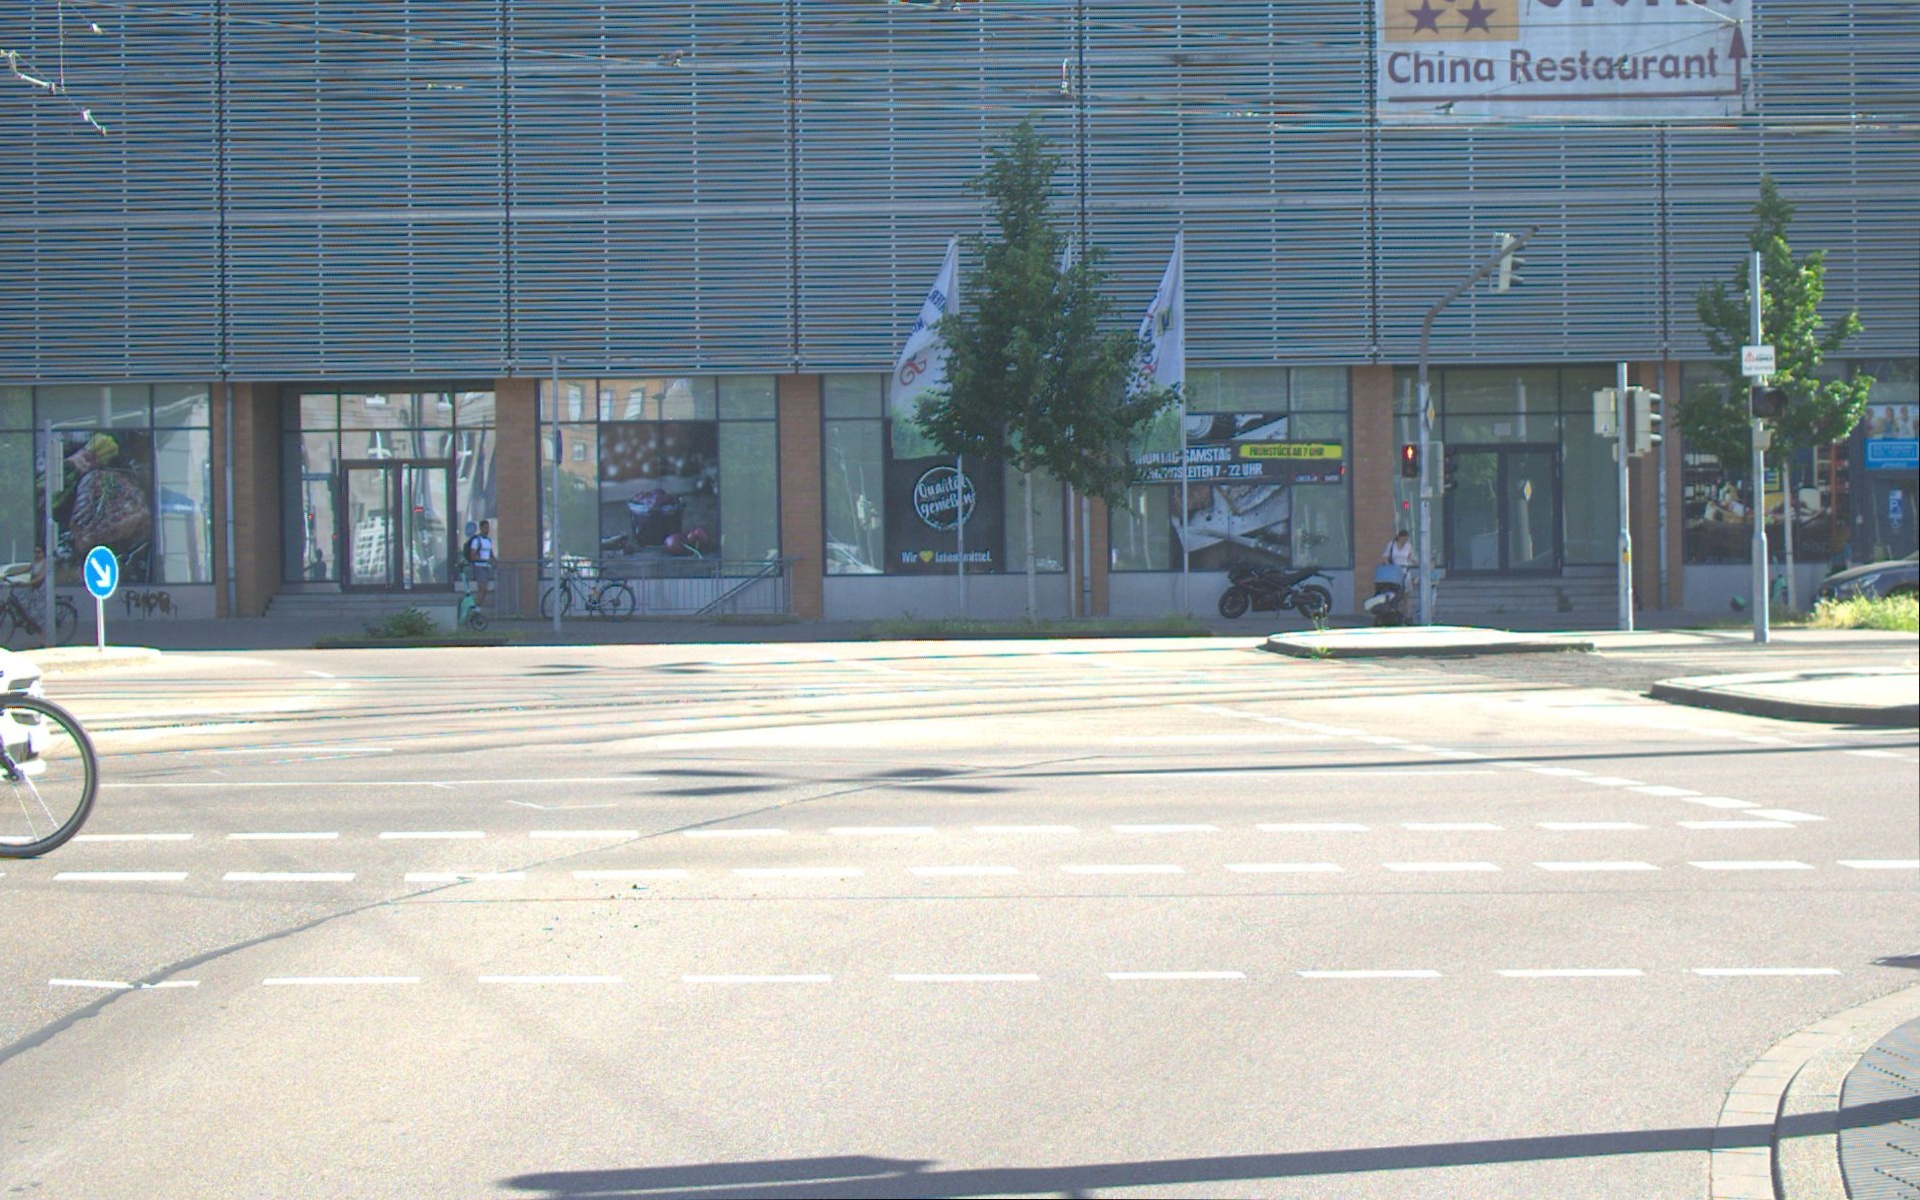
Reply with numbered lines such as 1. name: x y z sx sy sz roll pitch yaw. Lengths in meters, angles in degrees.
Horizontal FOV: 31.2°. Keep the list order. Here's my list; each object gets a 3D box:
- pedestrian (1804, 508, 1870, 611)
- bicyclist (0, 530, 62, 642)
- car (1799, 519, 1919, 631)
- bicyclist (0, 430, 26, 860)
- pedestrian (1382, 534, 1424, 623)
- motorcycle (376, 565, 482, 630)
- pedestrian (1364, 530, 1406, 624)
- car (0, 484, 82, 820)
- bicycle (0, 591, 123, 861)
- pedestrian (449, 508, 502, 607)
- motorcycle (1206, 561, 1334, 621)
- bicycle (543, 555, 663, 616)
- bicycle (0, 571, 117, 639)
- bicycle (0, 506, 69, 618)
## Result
1. pedestrian: 14.919 -0.694 58.505 0.853 1.732 0.754 -1 1 -6
2. bicyclist: -15.178 -0.234 55.864 0.843 1.797 0.816 -1 1 -42
3. car: 13.878 -0.362 46.902 4.487 1.489 1.495 -1 1 0
4. bicyclist: -4.591 0.199 14.774 0.902 1.853 0.854 -1 1 0
5. pedestrian: 7.310 -0.358 56.786 0.589 1.457 0.658 0 1 -1
6. motorcycle: -8.786 -0.037 56.922 1.652 1.055 0.497 0 1 9
7. pedestrian: 6.929 -0.381 56.101 0.589 1.529 0.658 0 1 -1
8. car: -6.895 0.241 17.383 4.488 1.629 1.840 0 2 -4
9. bicycle: -4.622 0.532 14.779 1.828 1.112 0.853 -1 1 0
10. pedestrian: -8.639 -0.759 61.370 0.848 1.757 0.620 -1 1 -1
11. motorcycle: 5.573 -0.170 61.972 2.202 1.039 1.061 0 1 0
12. bicycle: -6.398 -0.266 61.666 2.026 1.055 1.145 -1 1 -1
13. bicycle: -15.024 0.076 56.062 2.238 1.067 1.046 -1 1 -41
14. bicycle: -18.427 -0.713 62.765 3.987 2.007 1.330 0 1 0
